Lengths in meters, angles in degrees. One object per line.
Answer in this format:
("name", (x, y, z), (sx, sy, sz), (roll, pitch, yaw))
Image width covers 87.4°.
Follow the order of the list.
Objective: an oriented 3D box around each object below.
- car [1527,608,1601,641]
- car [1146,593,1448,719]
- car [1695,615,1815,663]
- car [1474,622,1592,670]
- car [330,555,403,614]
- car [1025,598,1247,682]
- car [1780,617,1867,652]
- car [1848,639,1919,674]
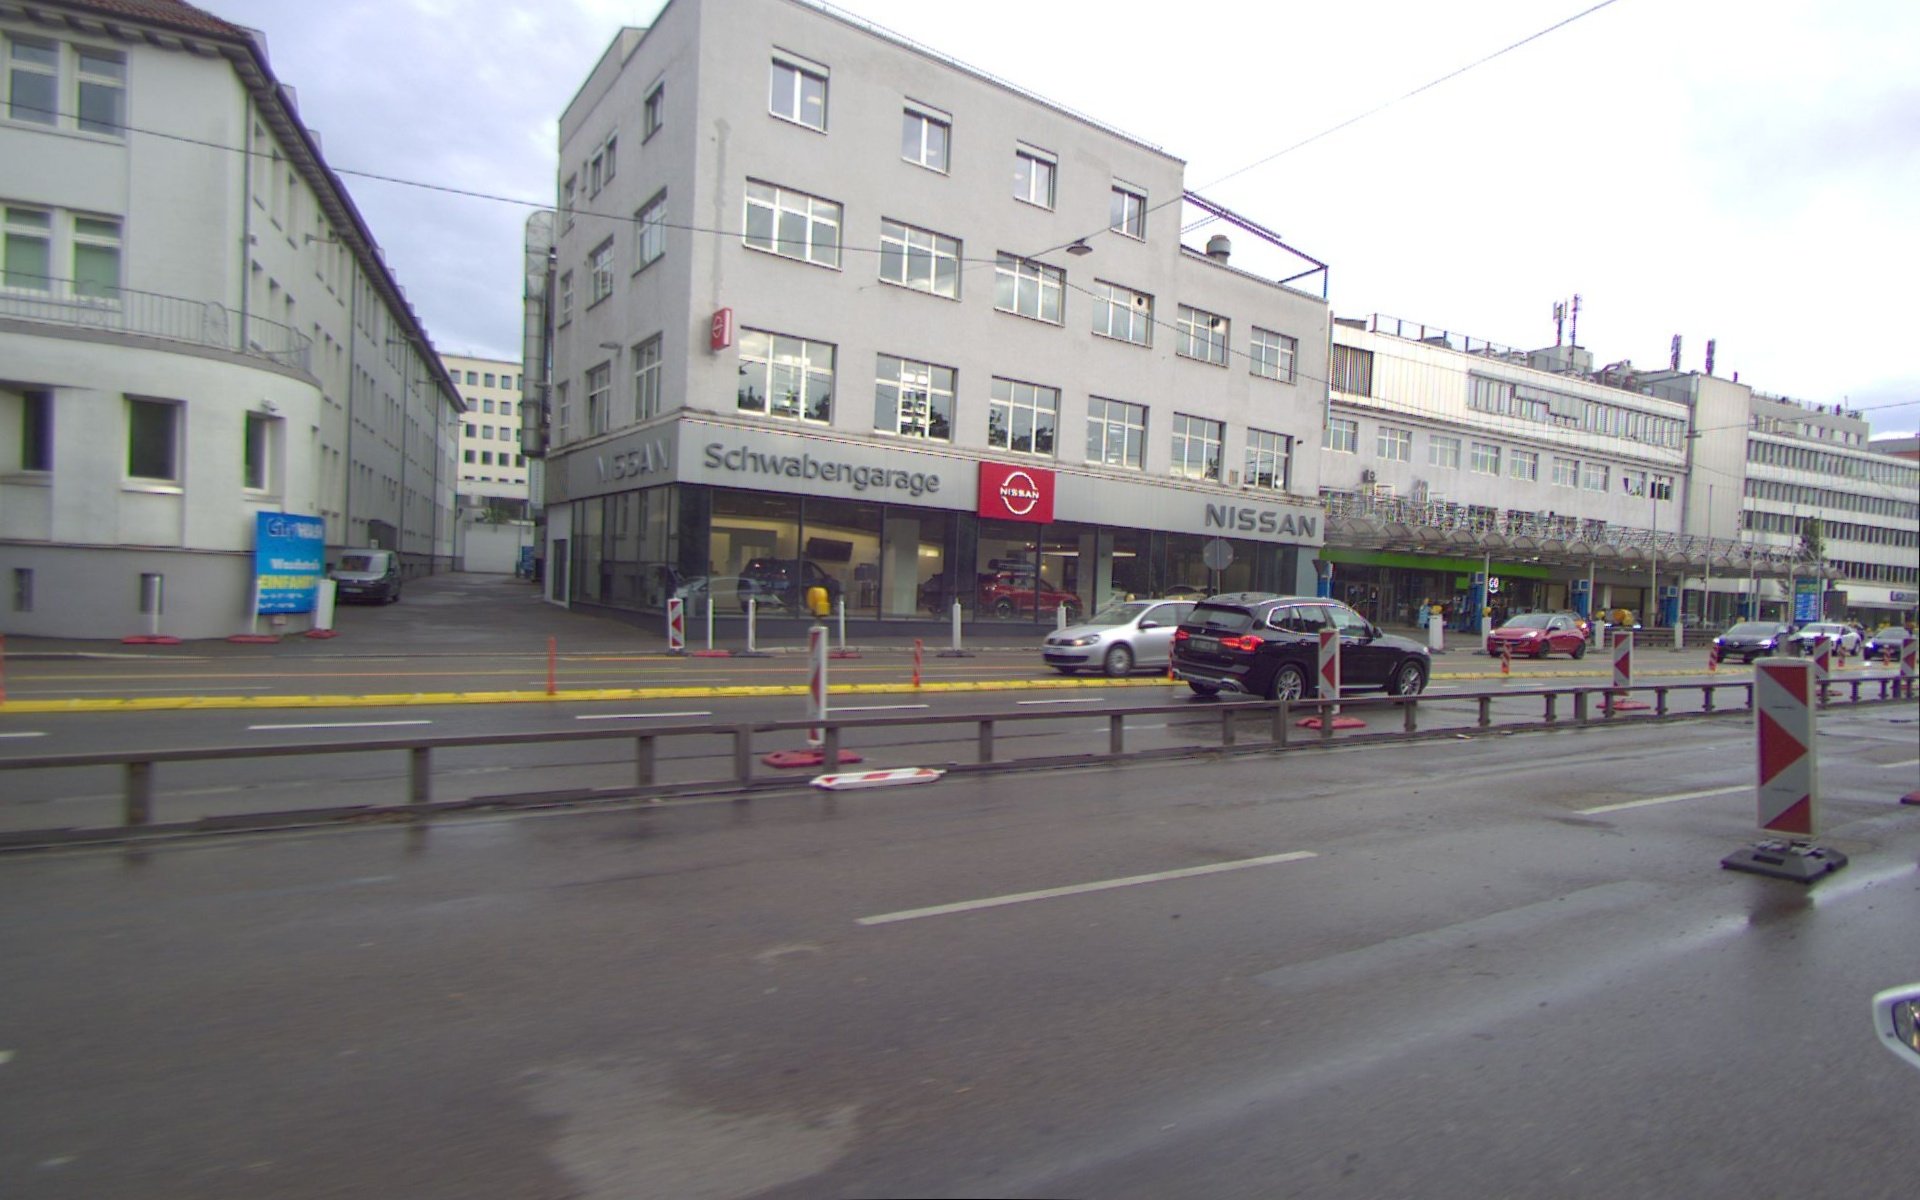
("car", (34.336, 1.367, 57.254), (1.927, 1.794, 4.448), (1, -1, 6))
("car", (5.391, 0.799, 15.950), (4.615, 1.619, 1.937), (1, 4, -30))
("car", (27.613, 1.365, 34.870), (4.469, 1.528, 1.775), (2, 0, -30))
("car", (18.814, 1.498, 32.950), (3.665, 1.433, 1.725), (2, 1, -30))
("car", (-20.397, -0.522, 34.651), (1.766, 1.855, 3.938), (2, 0, -26))
("car", (3.420, 0.756, 19.422), (4.065, 1.483, 1.694), (1, -1, -28))
("car", (40.769, 1.651, 47.406), (4.469, 1.528, 1.775), (2, 0, -30))
("car", (40.870, 2.439, 43.916), (4.758, 1.369, 1.788), (2, 0, -32))
